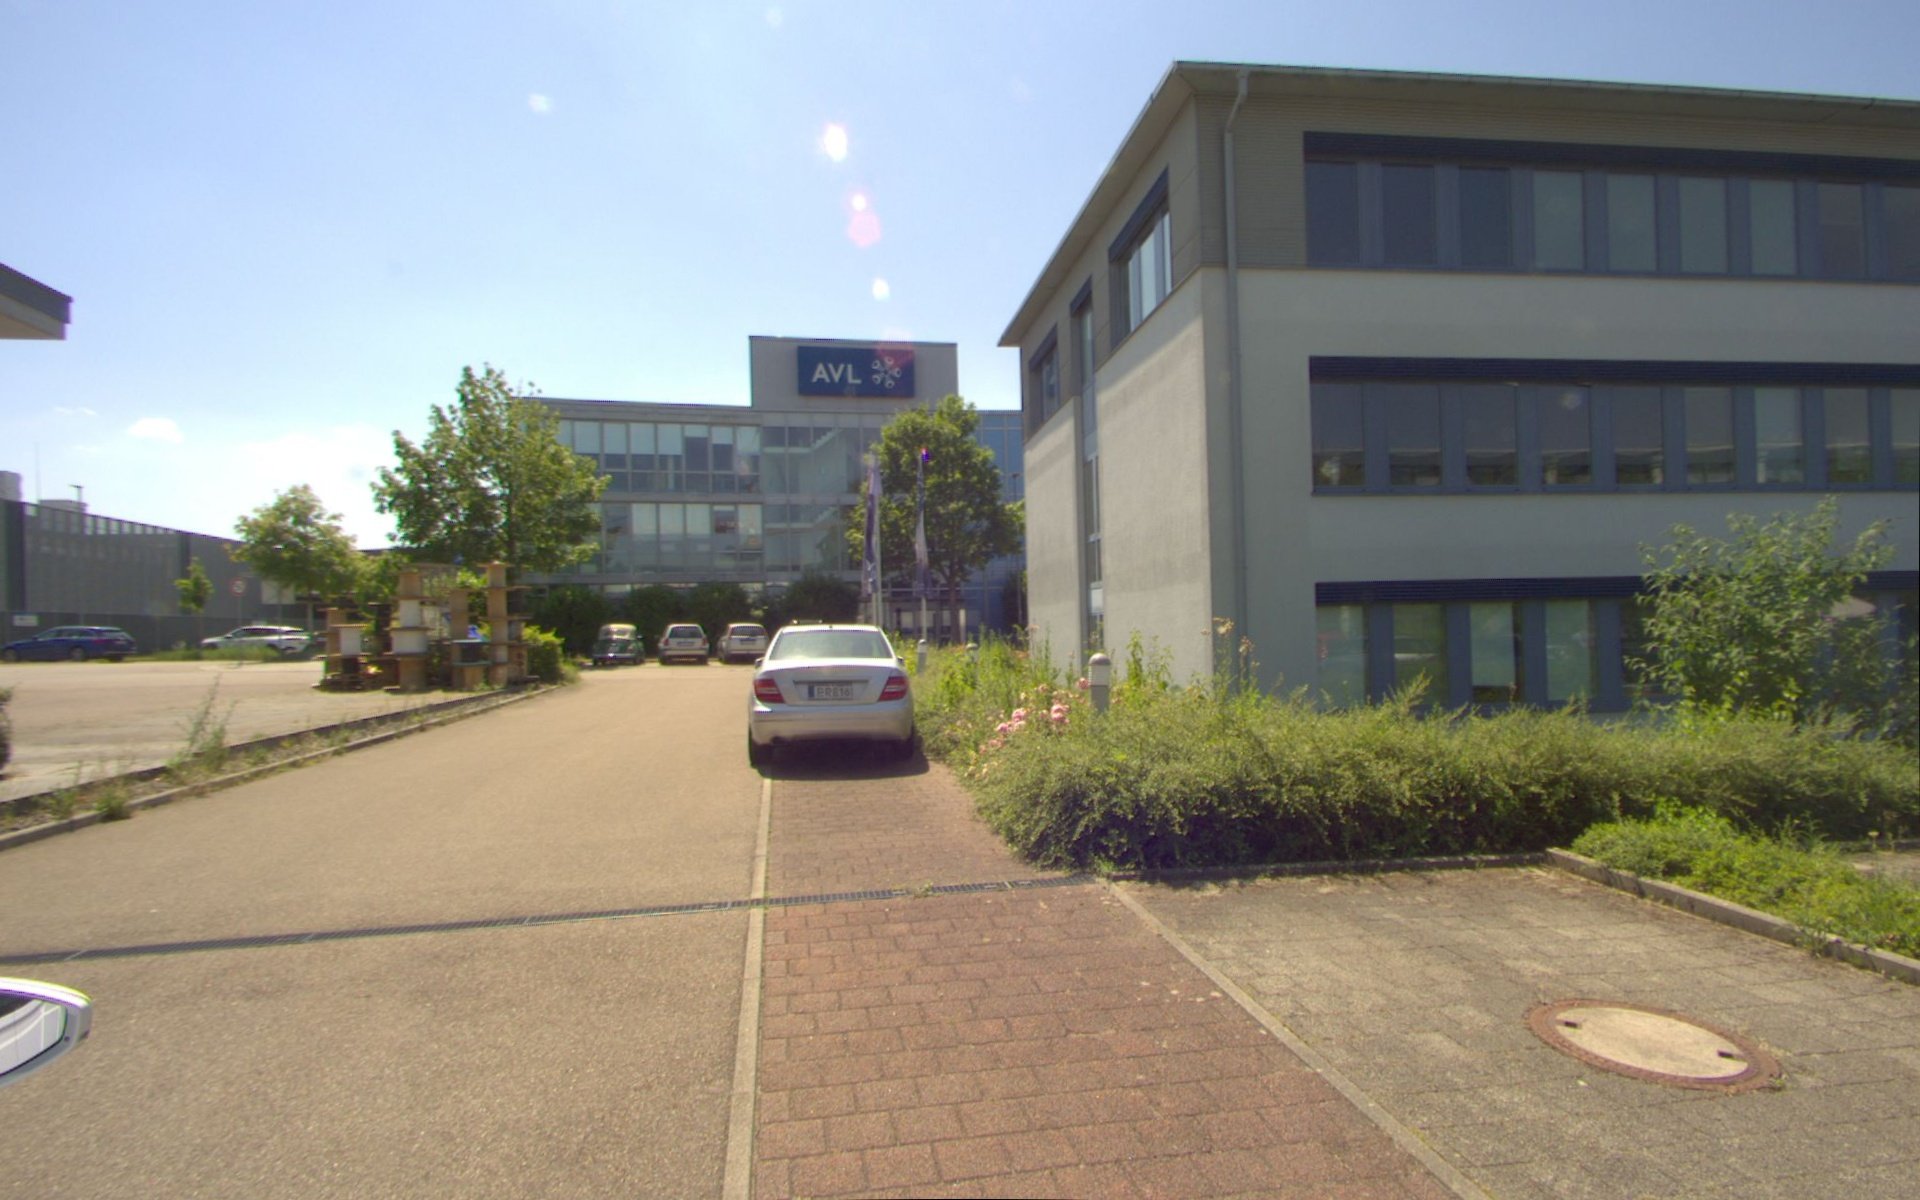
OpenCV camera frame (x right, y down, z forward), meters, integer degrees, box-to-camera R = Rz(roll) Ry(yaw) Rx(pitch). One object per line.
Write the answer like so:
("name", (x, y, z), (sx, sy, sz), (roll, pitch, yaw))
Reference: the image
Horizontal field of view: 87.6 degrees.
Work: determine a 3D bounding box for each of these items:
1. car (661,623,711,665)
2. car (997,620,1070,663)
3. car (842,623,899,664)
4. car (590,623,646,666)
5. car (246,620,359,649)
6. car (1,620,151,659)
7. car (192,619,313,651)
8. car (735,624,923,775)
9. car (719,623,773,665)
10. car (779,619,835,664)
("car", (-10.284, 1.626, 37.498), (1.706, 1.468, 3.648), (1, -1, -16))
("car", (2.929, 1.632, 40.752), (1.791, 1.641, 4.335), (0, -1, -12))
("car", (-3.569, 1.661, 39.423), (1.743, 1.501, 4.255), (0, -1, -12))
("car", (-12.512, 1.585, 36.784), (1.518, 1.468, 3.650), (1, -1, -13))
("car", (-35.108, 1.839, 53.544), (4.760, 1.511, 2.000), (0, 0, 3))
("car", (-35.868, 1.580, 40.704), (4.426, 1.511, 2.000), (0, 0, 3))
("car", (-35.650, 1.750, 50.511), (4.760, 1.511, 2.000), (0, 0, 3))
("car", (-1.529, 1.023, 11.790), (1.771, 1.416, 4.420), (0, -2, -7))
("car", (-8.213, 1.645, 38.287), (1.739, 1.468, 3.648), (1, -1, -16))
("car", (-5.980, 1.569, 38.748), (1.897, 1.631, 3.983), (1, -1, -12))
